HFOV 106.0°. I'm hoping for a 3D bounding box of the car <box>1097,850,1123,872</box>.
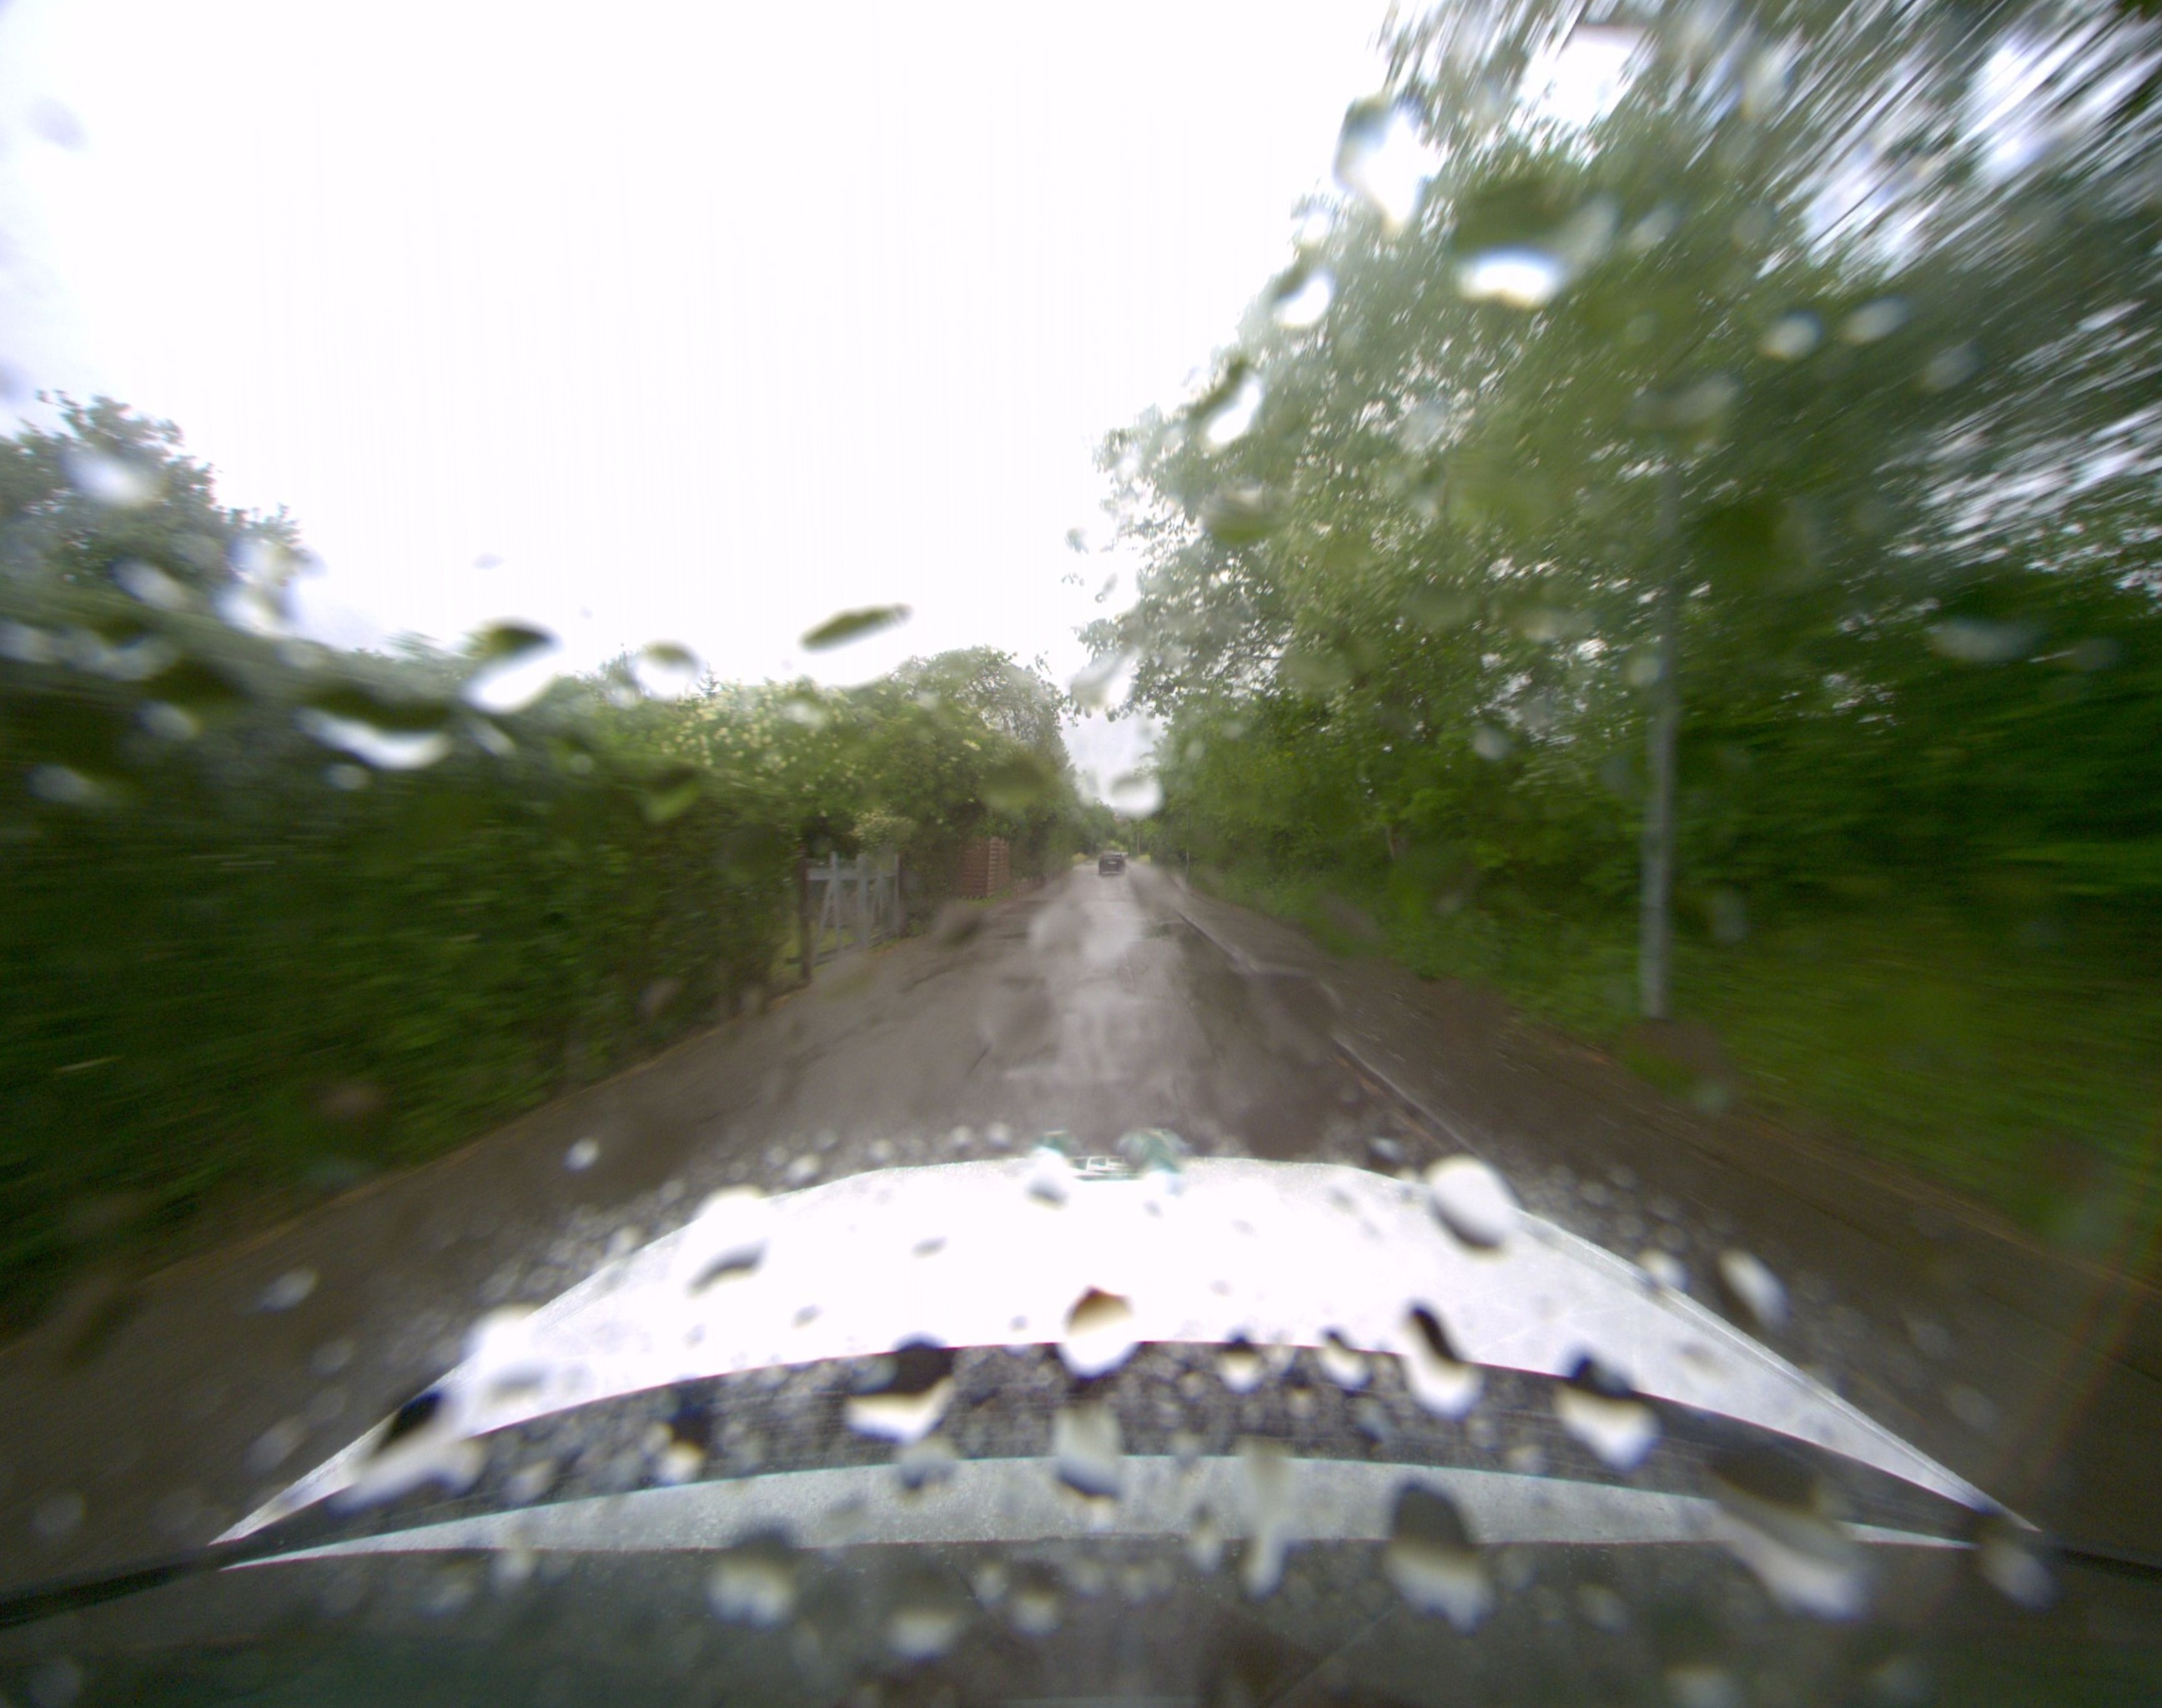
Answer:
[{"bbox_3d":[1.986,0.489,54.739,1.628,1.450,3.547,0,-1,3],"label":"car"}]
